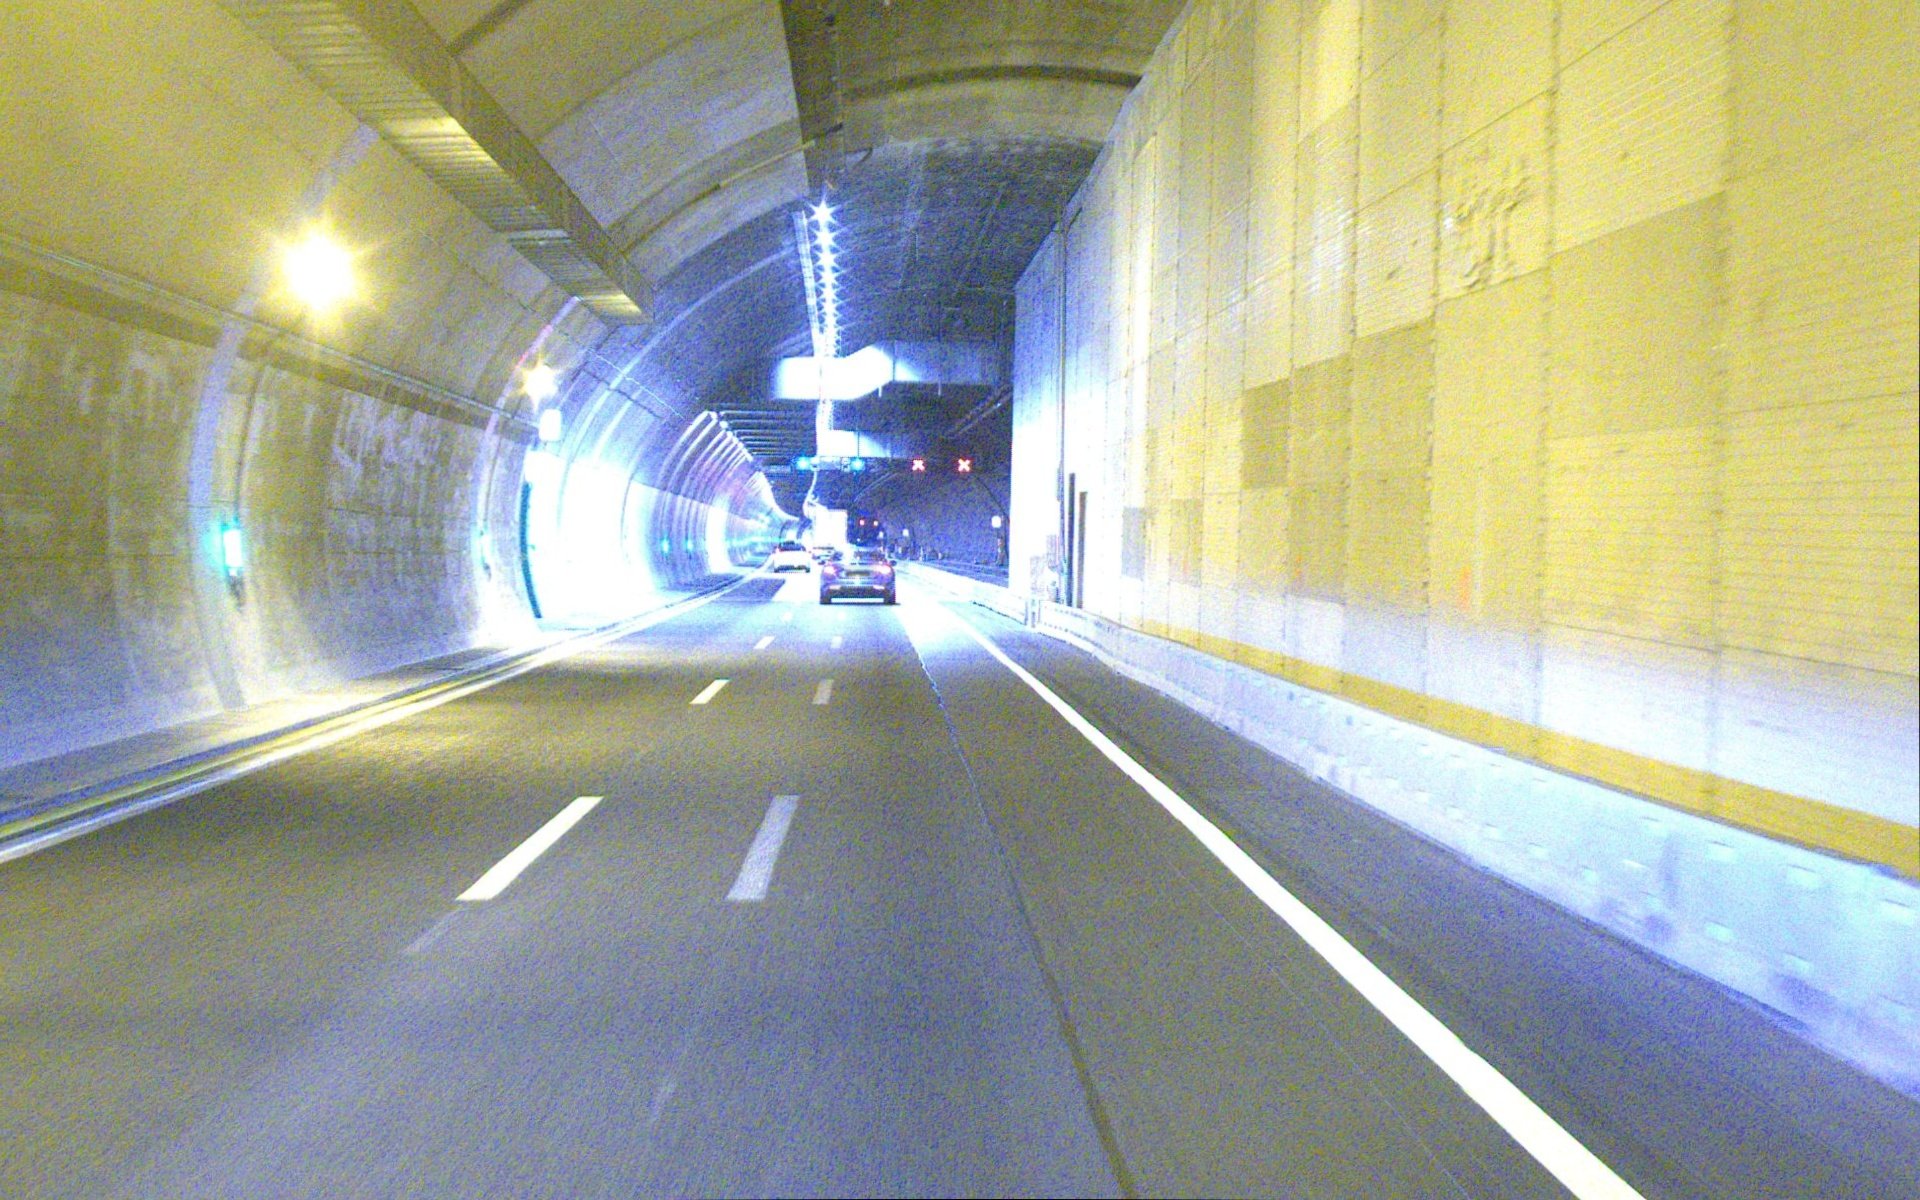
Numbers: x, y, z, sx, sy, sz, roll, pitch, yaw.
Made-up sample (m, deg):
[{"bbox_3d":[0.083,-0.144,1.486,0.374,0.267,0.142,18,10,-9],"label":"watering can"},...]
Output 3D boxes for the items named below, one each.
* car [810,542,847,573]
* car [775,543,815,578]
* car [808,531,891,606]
[{"bbox_3d":[-7.279,-2.357,190.530,1.930,1.681,4.000,-1,1,-1],"label":"car"},{"bbox_3d":[-8.245,-1.980,171.142,1.930,1.681,4.001,-1,1,-3],"label":"car"},{"bbox_3d":[-2.725,-0.805,85.598,1.947,1.788,4.000,-1,1,-1],"label":"car"}]
